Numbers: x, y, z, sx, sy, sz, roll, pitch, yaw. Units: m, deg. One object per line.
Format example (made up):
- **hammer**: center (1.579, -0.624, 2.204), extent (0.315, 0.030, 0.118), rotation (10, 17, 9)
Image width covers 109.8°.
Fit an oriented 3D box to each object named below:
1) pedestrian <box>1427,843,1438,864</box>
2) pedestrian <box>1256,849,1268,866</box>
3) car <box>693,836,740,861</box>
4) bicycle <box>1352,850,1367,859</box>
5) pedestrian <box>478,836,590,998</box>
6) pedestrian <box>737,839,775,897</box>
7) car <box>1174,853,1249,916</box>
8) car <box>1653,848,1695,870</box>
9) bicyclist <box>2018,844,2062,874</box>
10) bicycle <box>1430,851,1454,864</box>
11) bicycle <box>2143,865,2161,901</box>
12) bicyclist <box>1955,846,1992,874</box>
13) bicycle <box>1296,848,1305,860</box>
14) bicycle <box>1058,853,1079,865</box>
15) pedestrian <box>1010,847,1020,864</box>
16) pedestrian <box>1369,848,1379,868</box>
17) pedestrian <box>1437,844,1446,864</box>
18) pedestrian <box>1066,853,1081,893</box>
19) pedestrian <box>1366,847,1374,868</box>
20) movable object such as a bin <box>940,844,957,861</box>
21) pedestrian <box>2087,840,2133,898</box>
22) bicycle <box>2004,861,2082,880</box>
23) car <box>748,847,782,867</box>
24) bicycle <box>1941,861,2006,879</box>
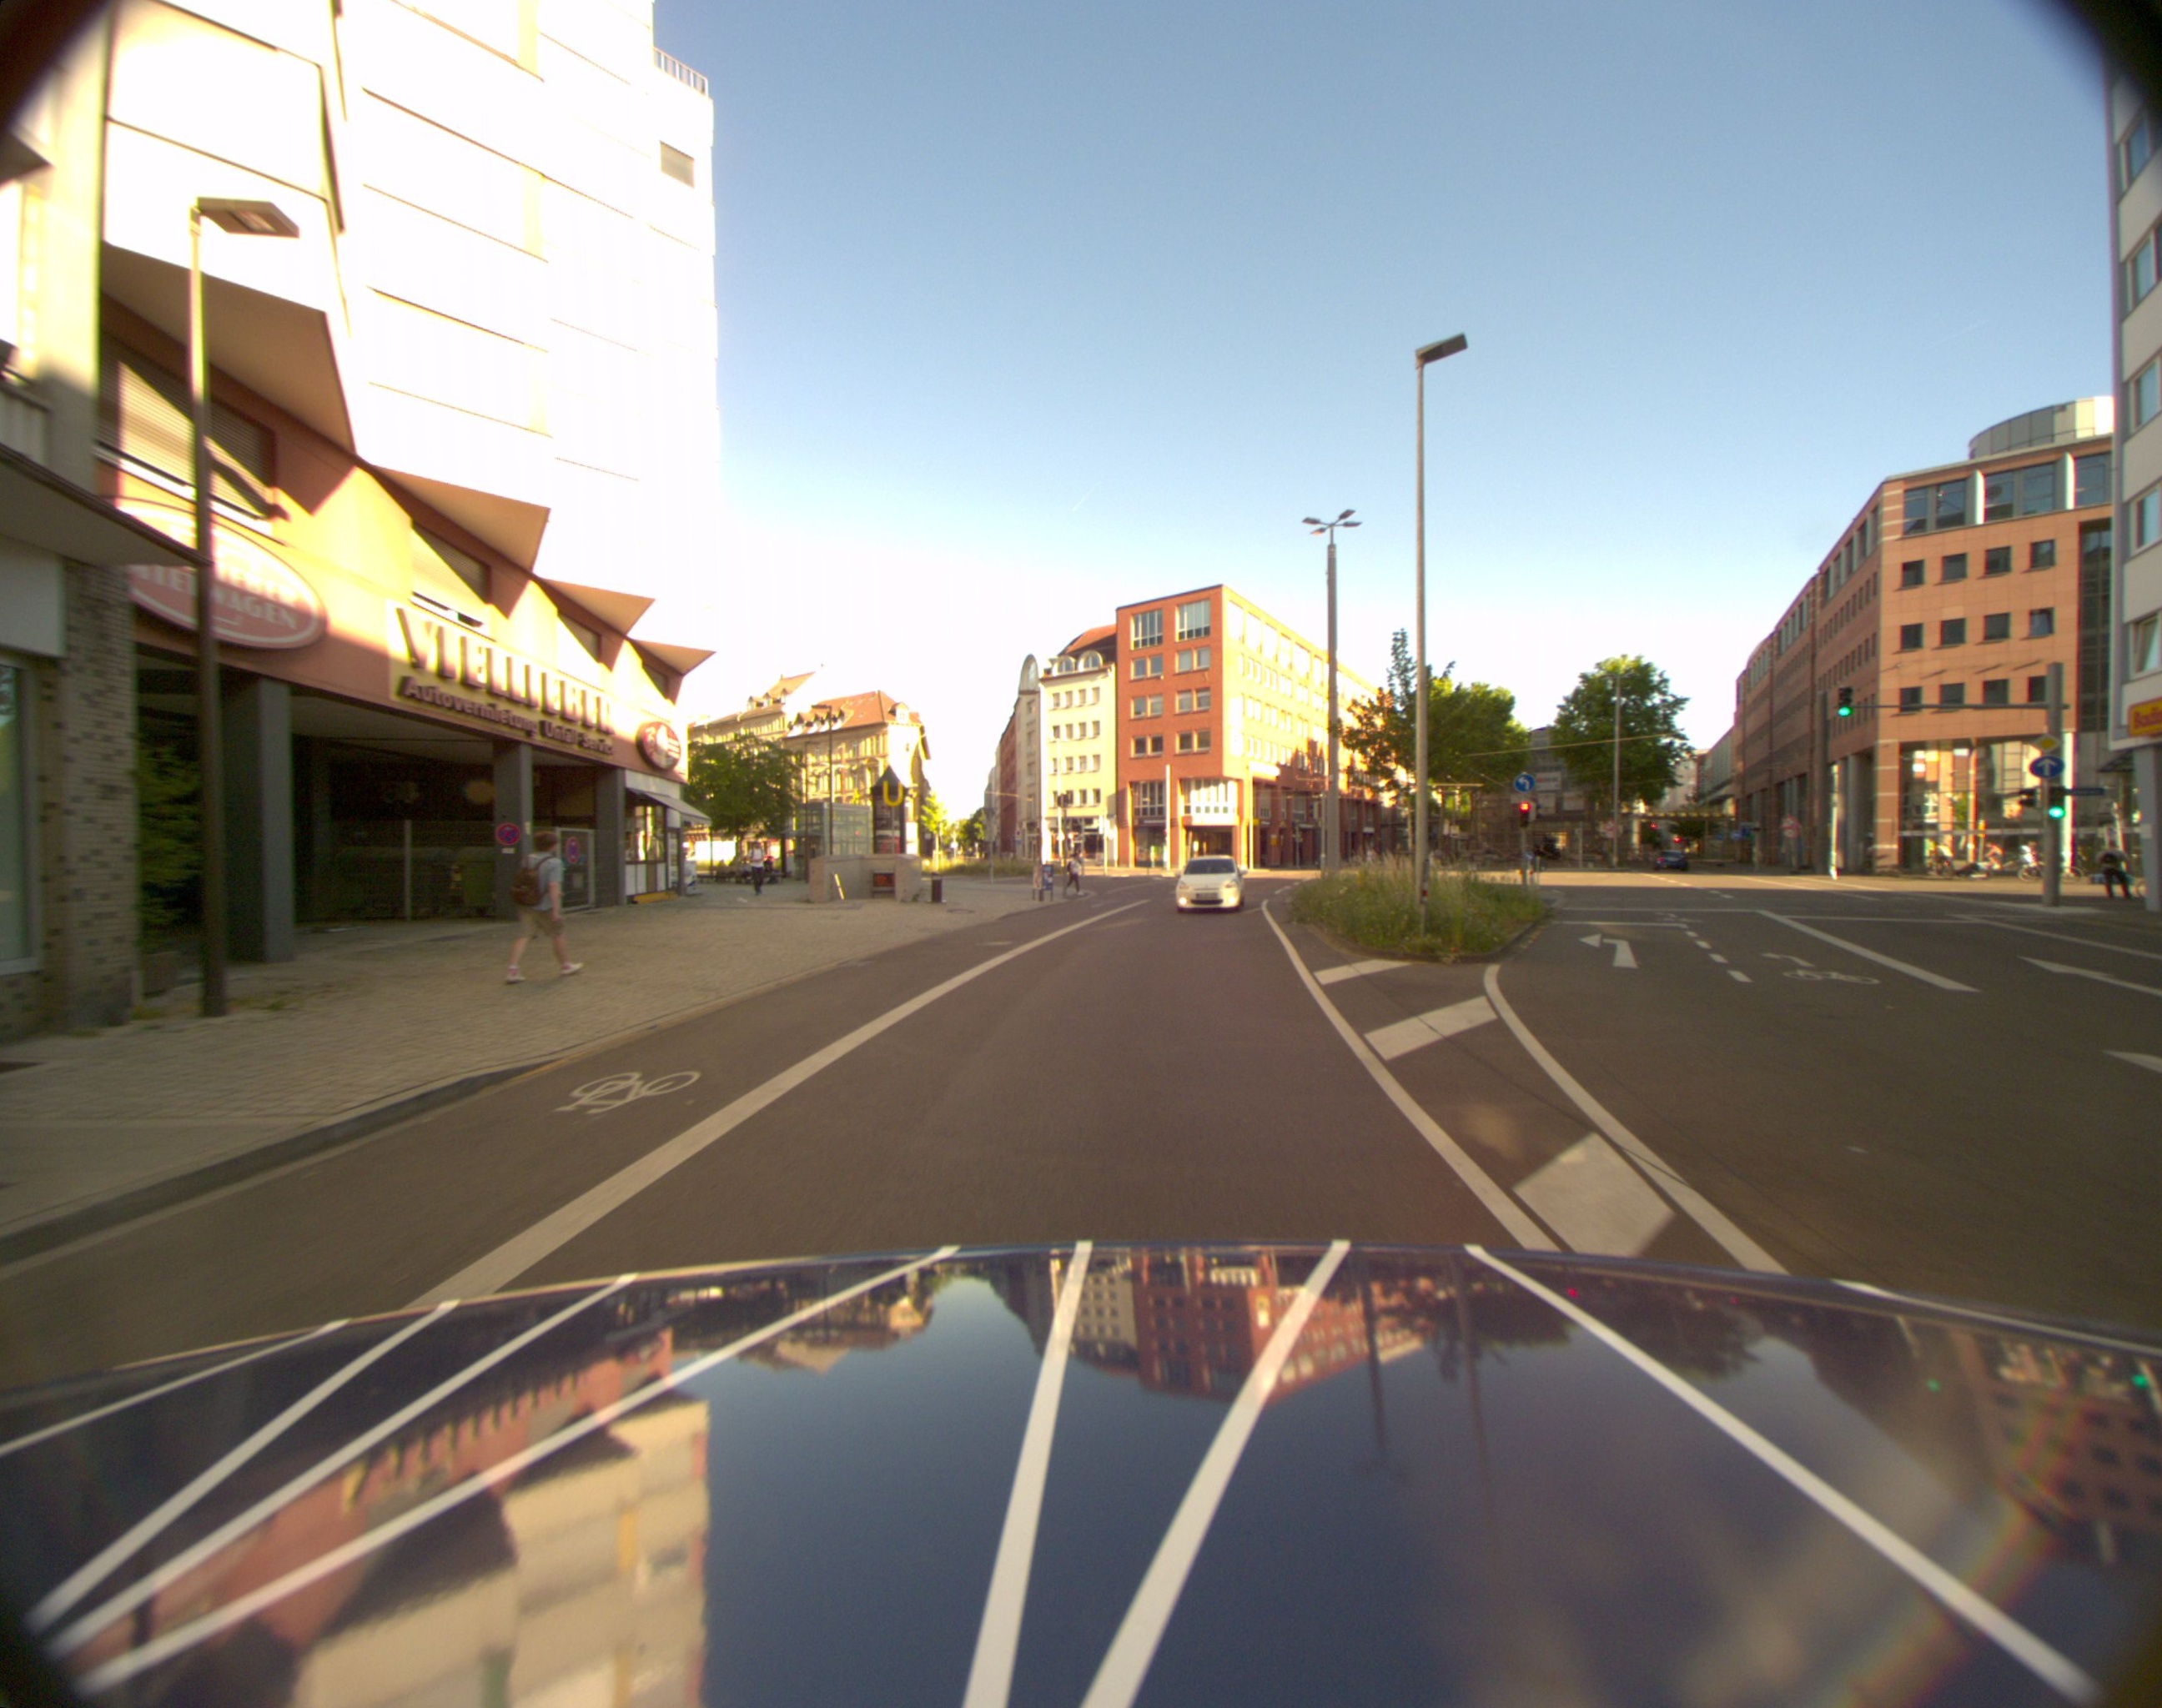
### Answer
- **pedestrian**: center (29.582, -0.039, 63.939), extent (0.778, 1.724, 0.850), rotation (0, 1, 32)
- **pedestrian**: center (16.738, 0.294, 70.222), extent (0.845, 1.580, 0.754), rotation (-1, 1, -4)
- **car**: center (-45.445, -0.651, 94.658), extent (5.351, 3.006, 2.283), rotation (0, 2, 26)
- **bicycle**: center (33.096, 0.069, 90.341), extent (1.611, 0.949, 0.556), rotation (3, 3, 37)
- **pedestrian**: center (-6.544, 0.714, 9.137), extent (0.734, 1.844, 0.947), rotation (1, 1, -10)
- **pedestrian**: center (-10.807, 0.448, 25.249), extent (1.042, 1.856, 0.689), rotation (0, 2, 38)
- **car**: center (3.635, 0.765, 20.907), extent (1.807, 1.492, 4.204), rotation (-1, 1, 11)
- **car**: center (40.887, 0.343, 52.490), extent (1.833, 1.378, 4.604), rotation (0, 2, 32)
- **bicyclist**: center (42.653, 0.219, 33.807), extent (1.019, 1.332, 0.781), rotation (-1, 1, 33)
- **bicycle**: center (30.706, 0.280, 64.603), extent (1.830, 1.072, 0.482), rotation (0, 1, 36)
- **bicycle**: center (31.872, 0.853, 21.680), extent (0.595, 1.047, 2.008), rotation (-1, 0, 10)
- **bicyclist**: center (42.077, 0.294, 35.843), extent (0.956, 1.304, 0.618), rotation (-1, 1, 13)
- **bicycle**: center (22.041, -0.018, 76.240), extent (0.340, 1.249, 1.713), rotation (0, 1, 36)
- **bicycle**: center (-1.101, 0.416, 65.426), extent (1.860, 0.985, 0.460), rotation (-1, 3, 35)
- **pedestrian**: center (-6.754, 0.146, 77.990), extent (0.694, 1.628, 0.959), rotation (-2, 3, -24)
- **pedestrian**: center (25.311, 0.308, 65.651), extent (0.634, 1.715, 0.631), rotation (0, 1, 35)
- **pedestrian**: center (30.481, -0.038, 64.261), extent (0.566, 1.670, 0.532), rotation (0, 2, 36)
- **pedestrian**: center (-0.303, 0.764, 30.444), extent (0.541, 1.574, 0.557), rotation (-1, 1, -8)
- **pedestrian**: center (24.751, 0.274, 65.018), extent (0.476, 1.782, 0.542), rotation (0, 1, 35)
- **movable object such as a bin**: center (-14.305, -0.152, 81.929), extent (1.650, 1.773, 1.400), rotation (-3, 1, -14)
- **pedestrian**: center (32.046, 0.454, 23.680), extent (0.628, 1.781, 0.786), rotation (0, 1, 36)
- **bicycle**: center (42.728, 0.726, 33.792), extent (2.013, 0.803, 0.781), rotation (-1, 1, 33)
- **car**: center (-36.856, 0.346, 88.720), extent (3.917, 2.169, 1.816), rotation (0, 3, 36)
- **bicycle**: center (42.078, 0.743, 35.849), extent (2.015, 0.803, 0.618), rotation (-1, 1, 12)
